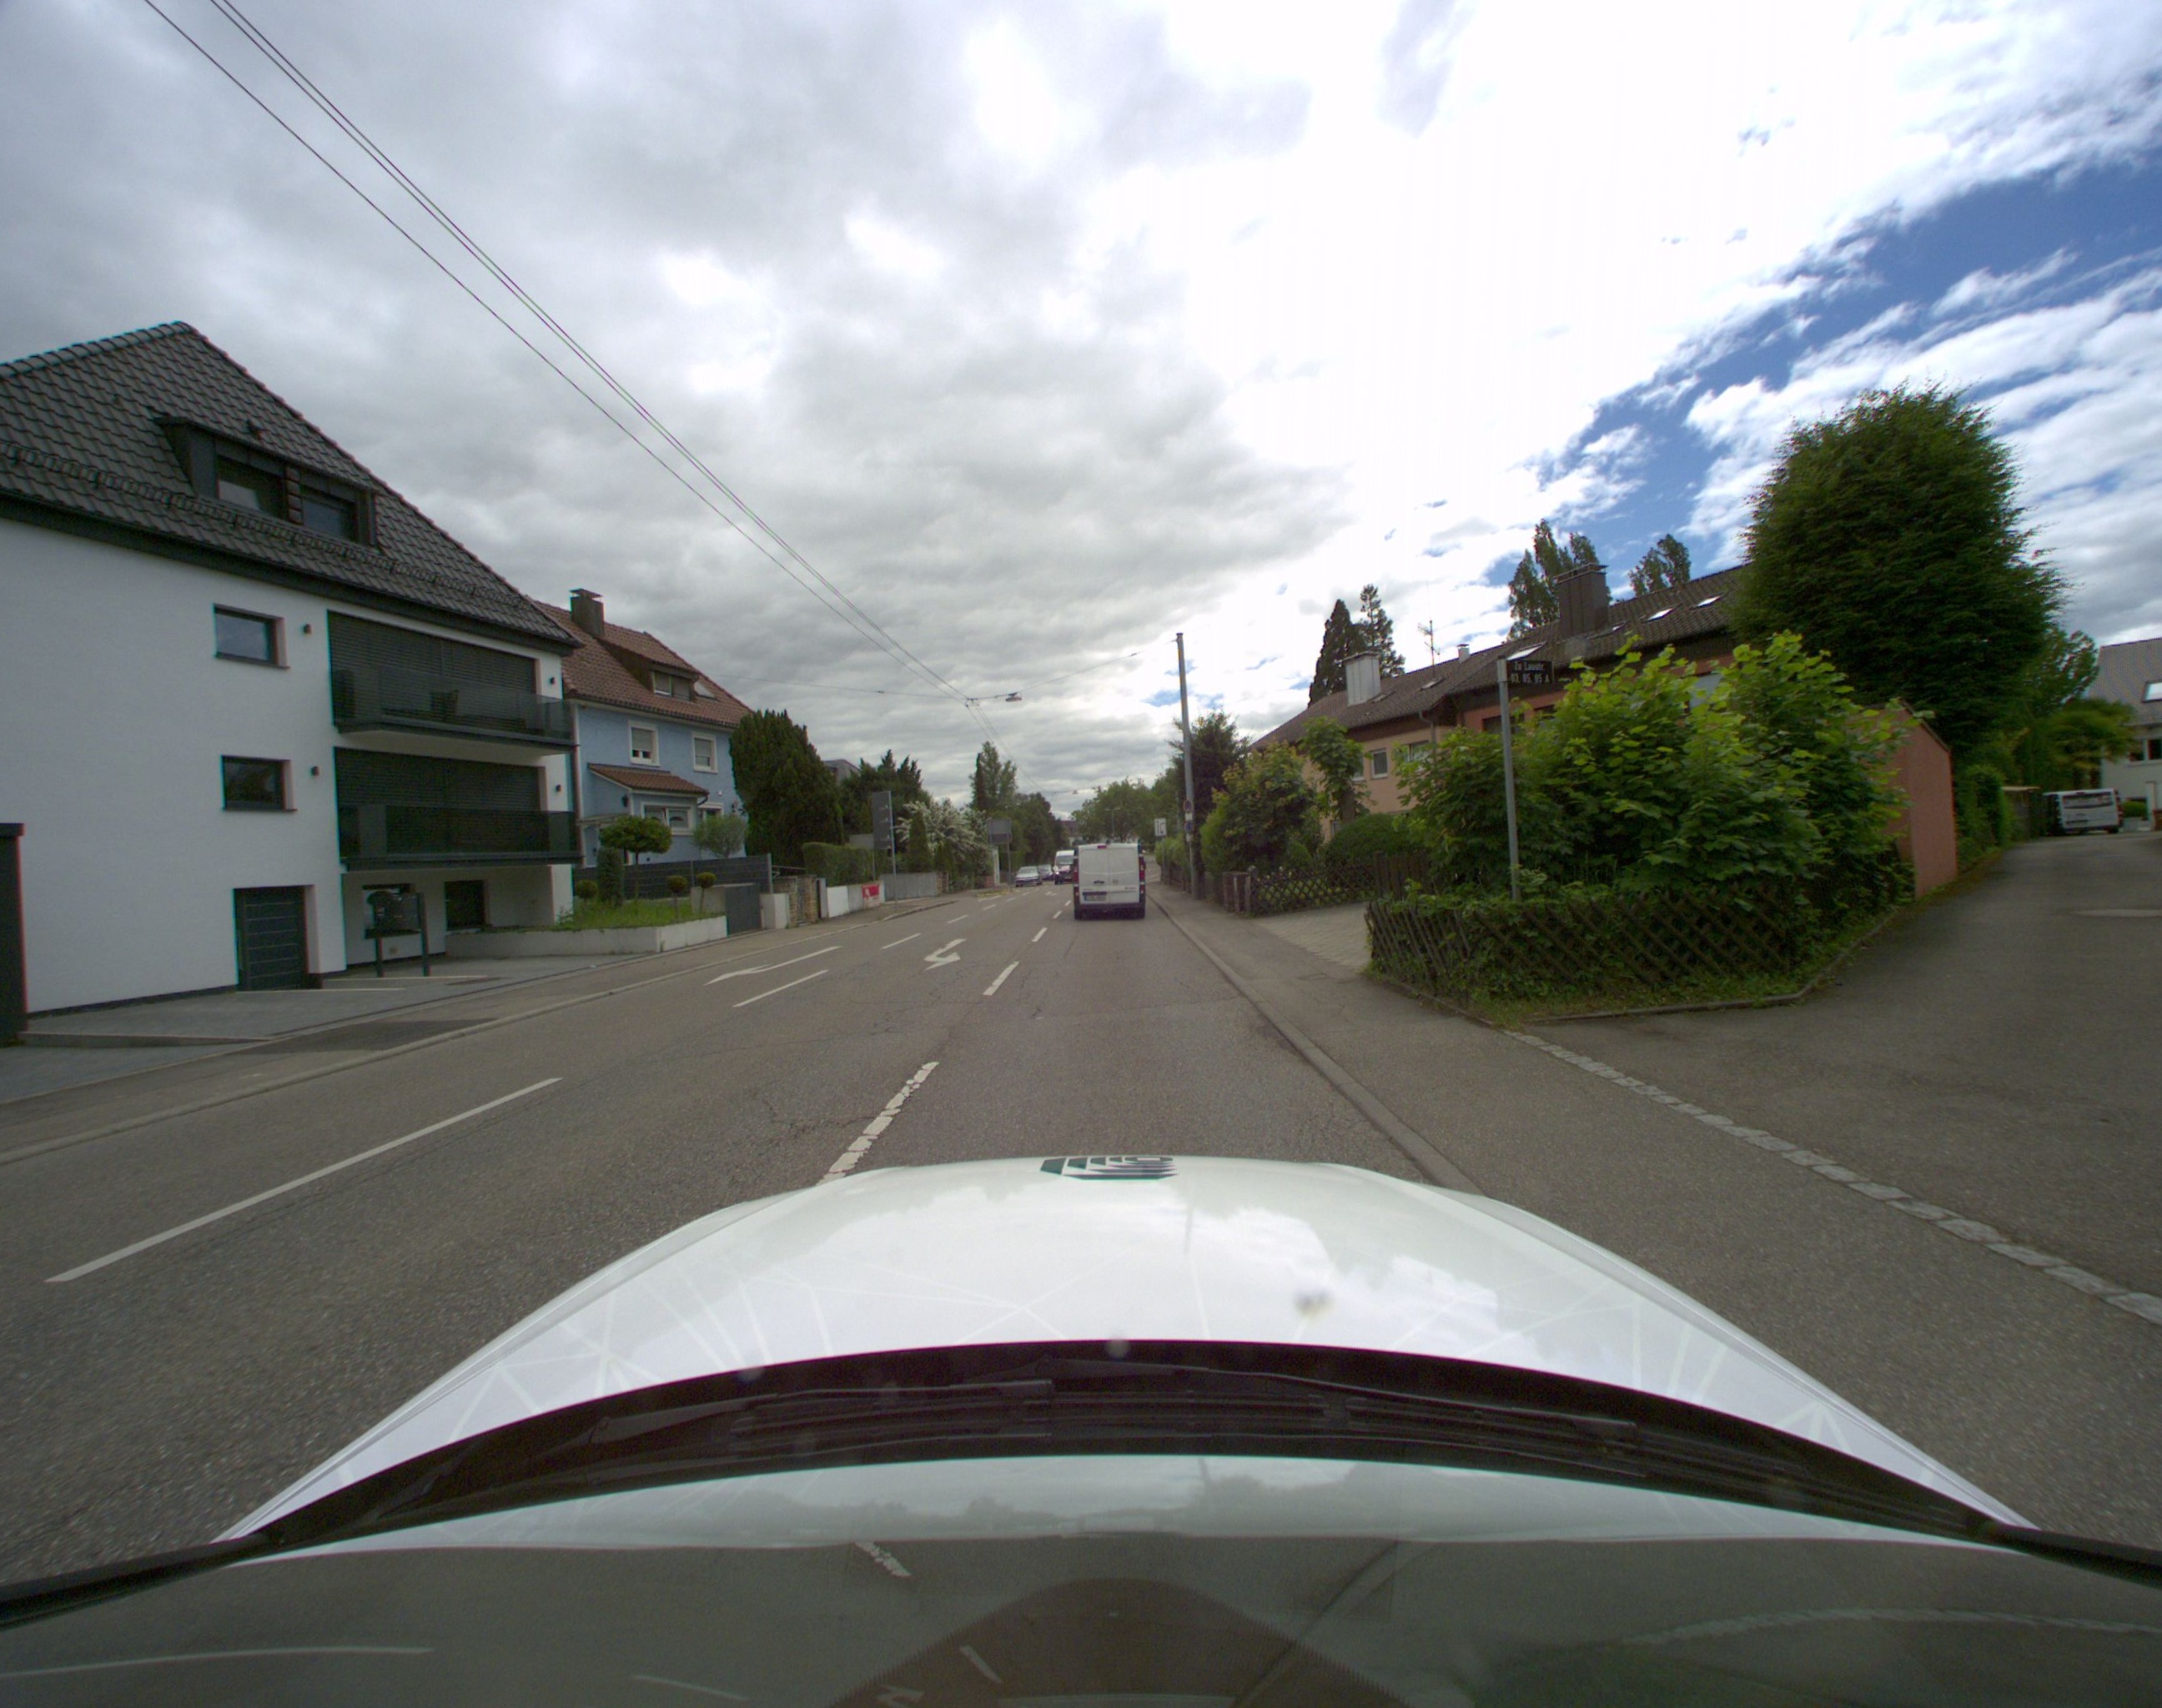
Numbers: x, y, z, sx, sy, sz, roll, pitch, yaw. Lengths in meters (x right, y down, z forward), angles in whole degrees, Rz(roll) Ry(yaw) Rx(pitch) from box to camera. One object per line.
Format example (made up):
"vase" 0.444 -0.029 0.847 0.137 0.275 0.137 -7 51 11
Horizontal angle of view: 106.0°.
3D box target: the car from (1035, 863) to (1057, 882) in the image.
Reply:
"car" -3.244 1.717 76.032 1.672 1.556 3.973 -5 -1 2

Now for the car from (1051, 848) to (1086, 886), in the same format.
"car" -0.851 0.911 59.882 2.103 2.498 6.129 -3 1 3

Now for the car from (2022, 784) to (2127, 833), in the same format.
"car" 43.169 -1.921 35.521 1.865 1.940 5.042 -1 1 38

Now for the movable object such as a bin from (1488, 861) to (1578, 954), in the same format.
"movable object such as a bin" 5.035 0.581 9.096 0.447 0.956 0.683 -6 0 -15

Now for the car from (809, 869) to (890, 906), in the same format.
"car" -11.884 1.707 41.894 3.561 1.592 1.649 -5 -1 16

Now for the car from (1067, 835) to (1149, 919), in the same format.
"car" 0.732 0.578 22.747 1.999 2.038 5.011 -1 0 1

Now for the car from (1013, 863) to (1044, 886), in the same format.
"car" -3.909 1.477 61.126 1.803 1.455 4.414 -5 0 1

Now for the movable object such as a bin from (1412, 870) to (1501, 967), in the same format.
"movable object such as a bin" 4.057 0.676 8.818 0.448 0.956 0.682 -6 0 -19

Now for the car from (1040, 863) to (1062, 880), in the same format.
"car" -3.065 1.801 84.006 1.883 1.494 4.028 -4 0 1
